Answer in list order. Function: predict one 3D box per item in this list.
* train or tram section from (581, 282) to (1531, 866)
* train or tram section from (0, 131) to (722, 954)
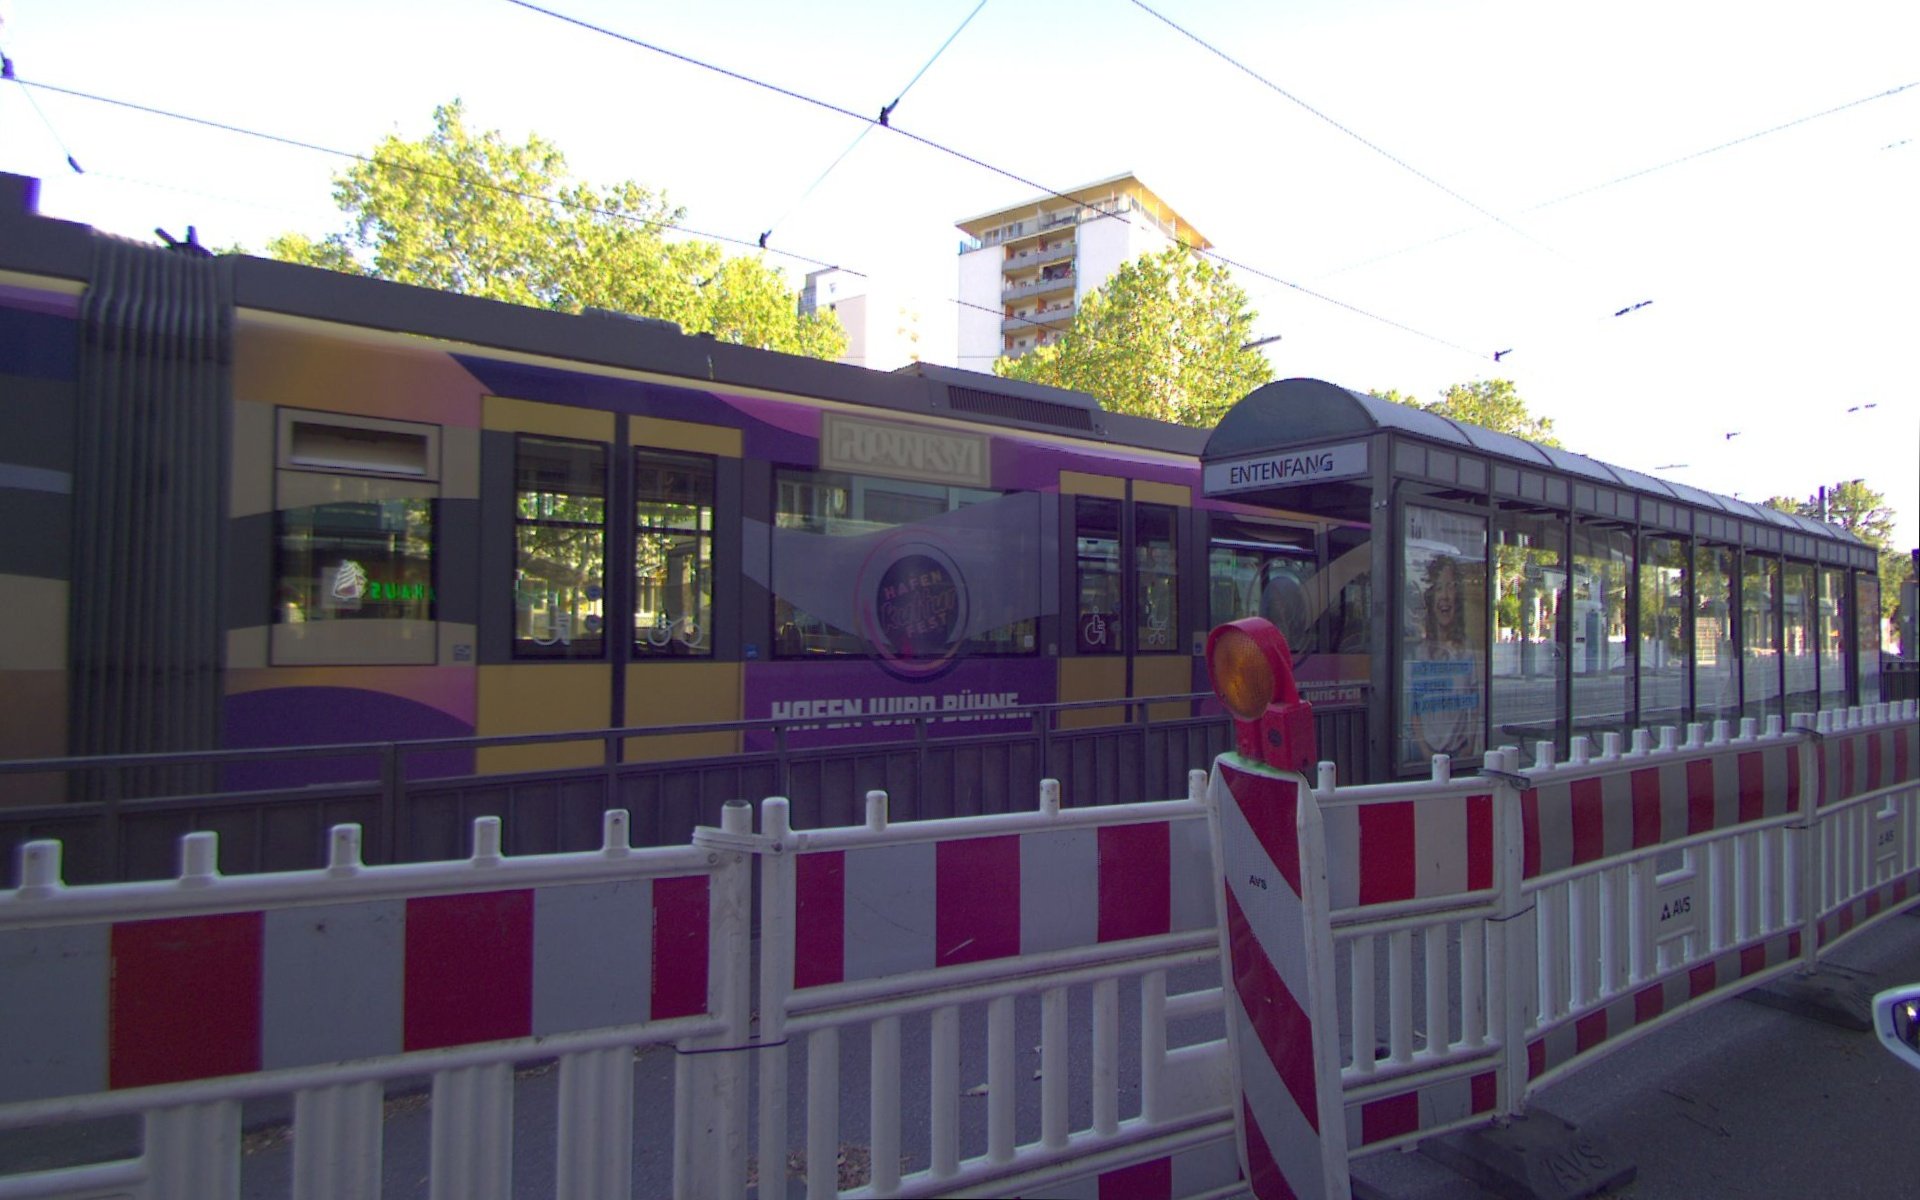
[{"bbox_3d":[1.832,-0.014,10.179,10.235,3.533,2.798,2,-1,-35],"label":"train or tram section"},{"bbox_3d":[-6.490,-0.289,4.445,10.228,3.533,2.819,2,-1,-33],"label":"train or tram section"}]
